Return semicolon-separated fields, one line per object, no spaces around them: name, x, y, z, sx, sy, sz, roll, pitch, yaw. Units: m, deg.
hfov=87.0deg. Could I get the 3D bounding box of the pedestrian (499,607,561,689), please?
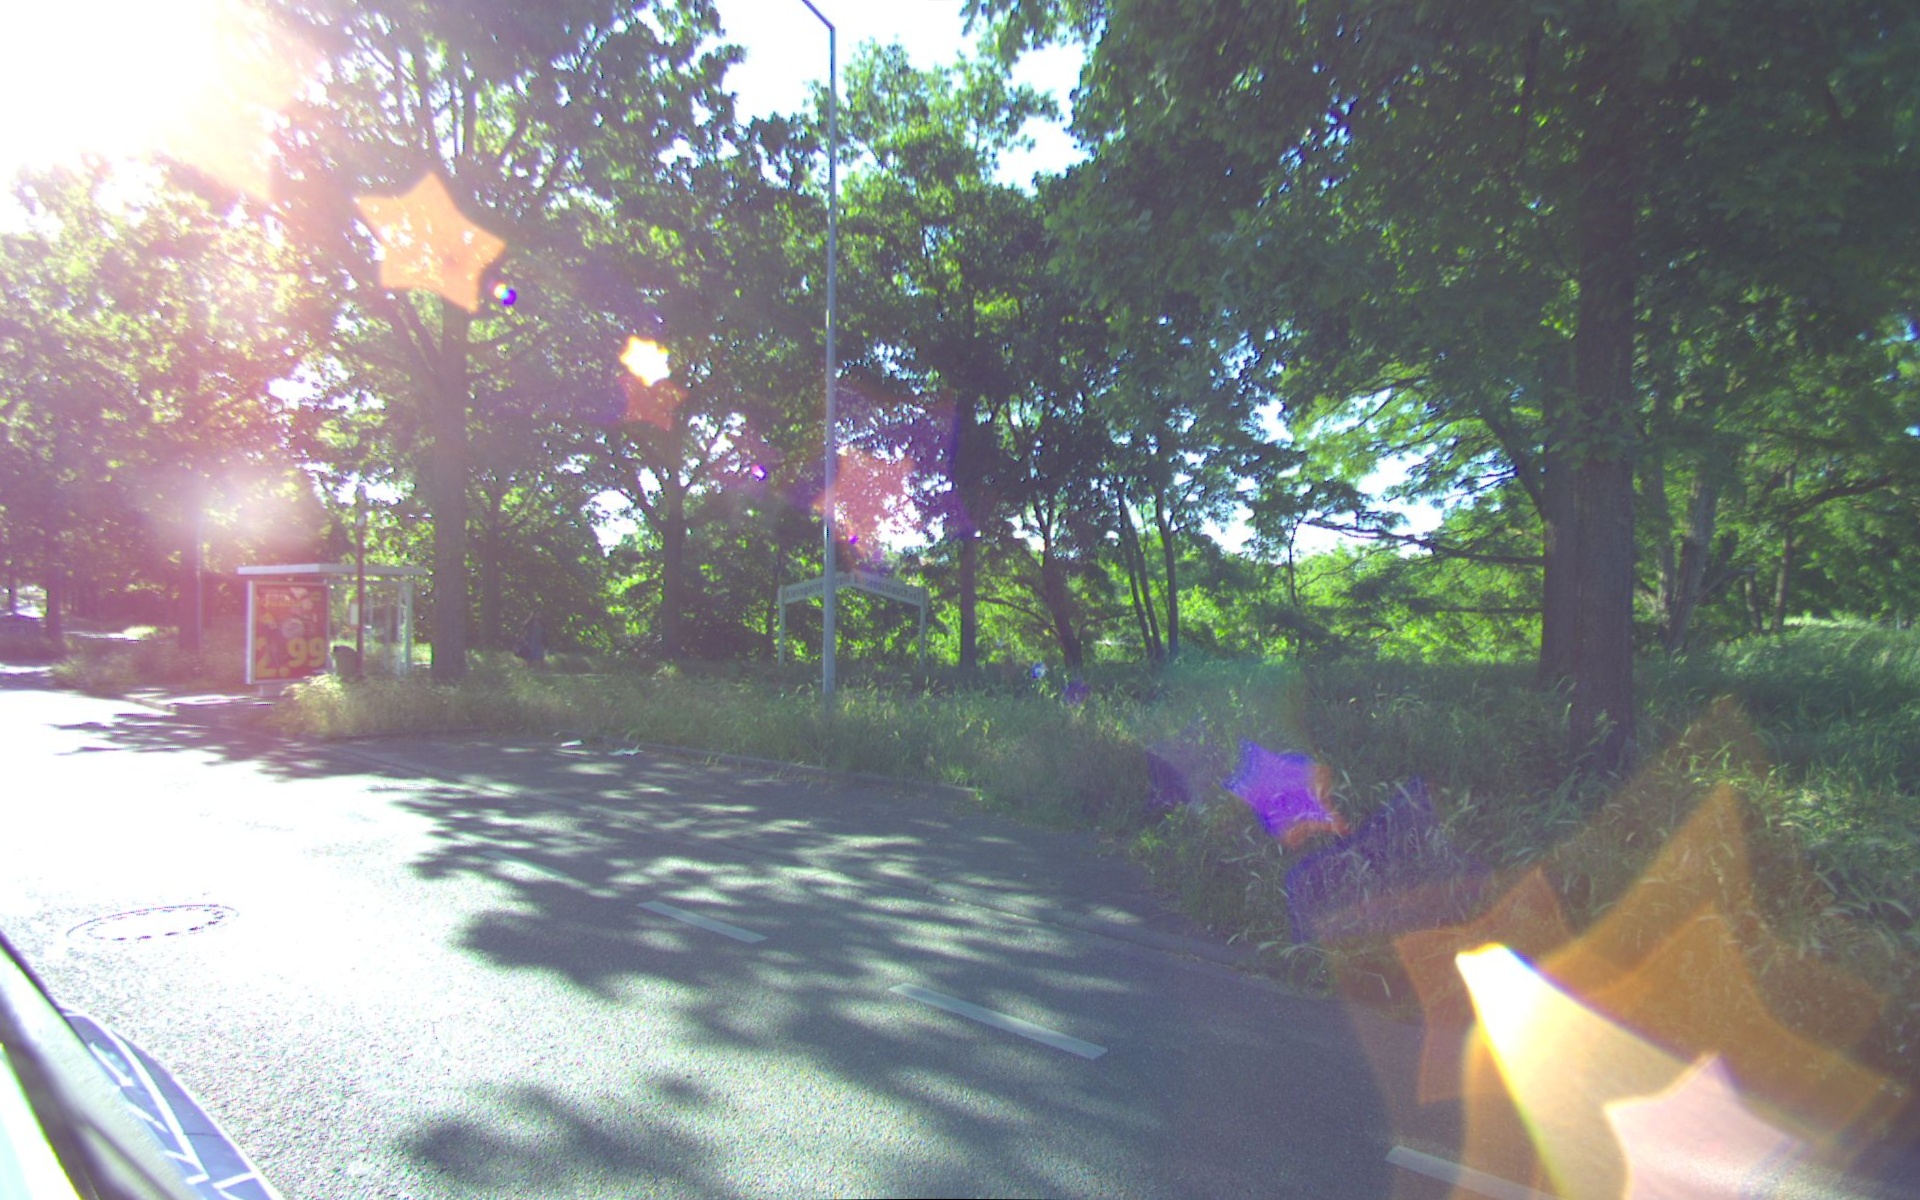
pedestrian;-9.239;1.005;21.749;0.891;1.701;0.903;-2;-1;42
